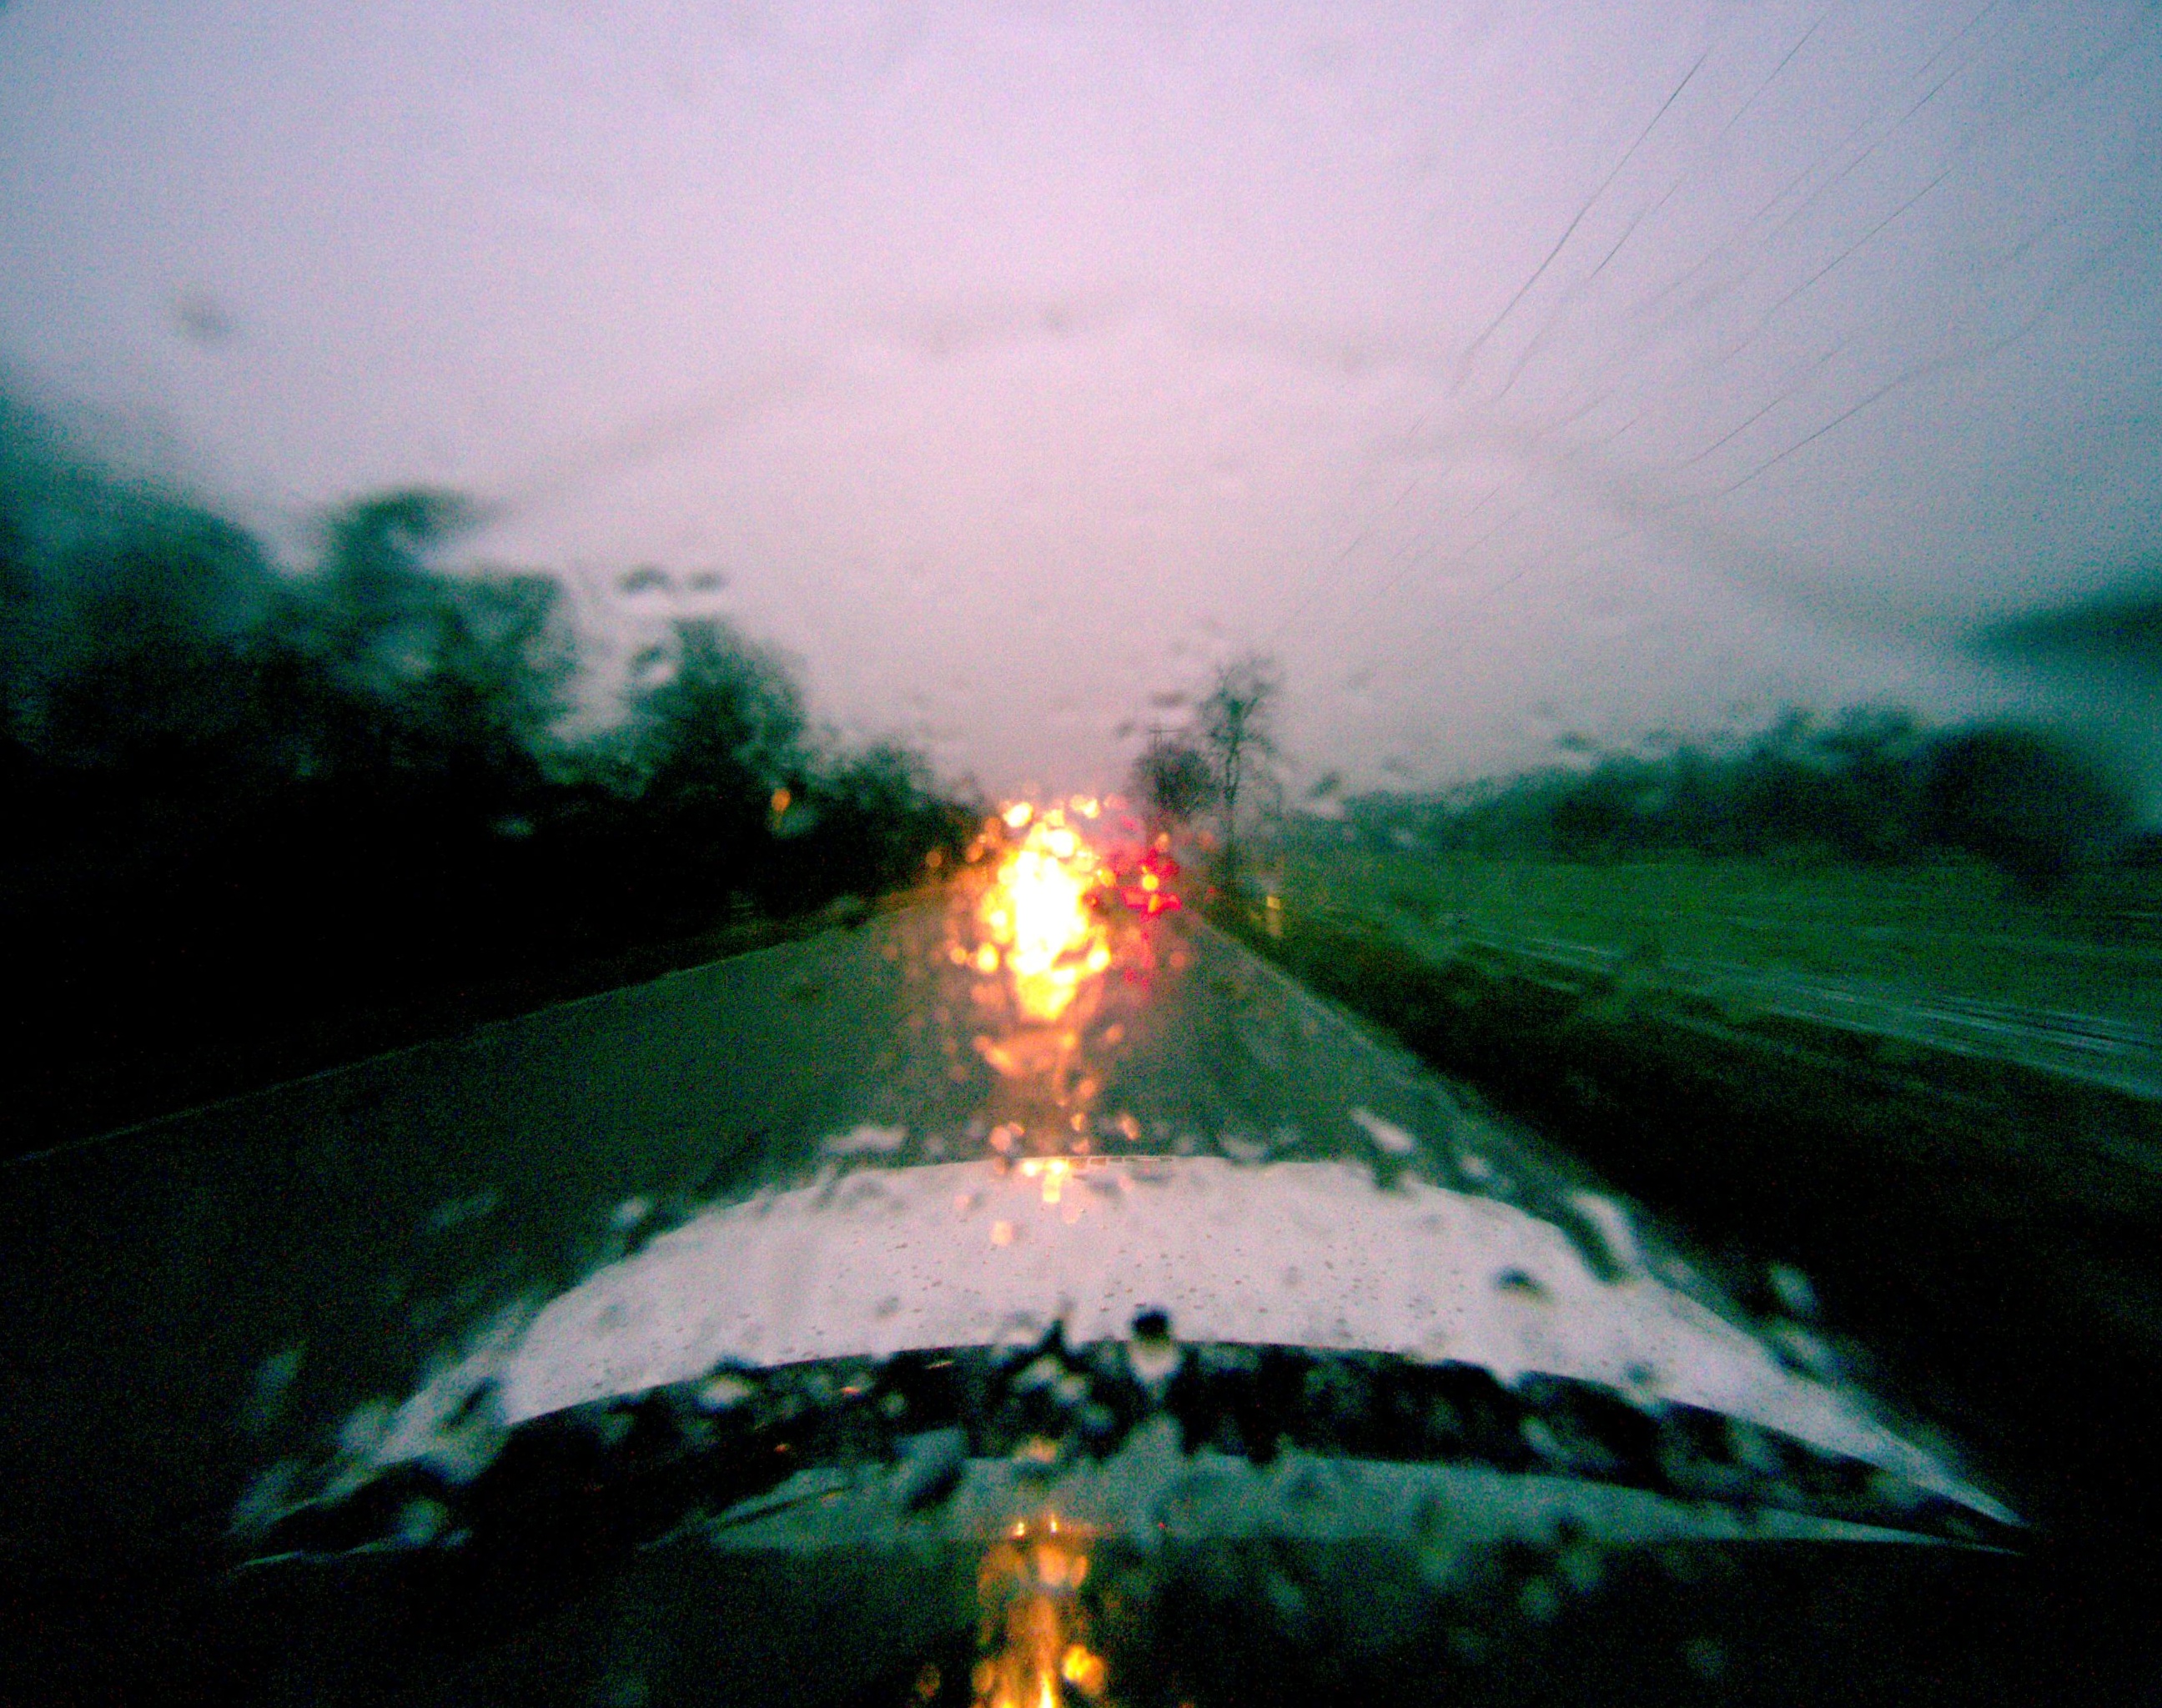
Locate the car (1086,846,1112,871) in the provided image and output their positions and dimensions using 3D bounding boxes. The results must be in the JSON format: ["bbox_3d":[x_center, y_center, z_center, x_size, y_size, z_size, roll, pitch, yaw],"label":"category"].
[{"bbox_3d":[1.513,0.371,67.263,1.985,2.013,4.004,-2,0,3],"label":"car"}]

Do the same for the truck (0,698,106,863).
[{"bbox_3d":[-25.473,-1.614,16.942,2.981,3.632,6.068,-1,0,1],"label":"truck"}]

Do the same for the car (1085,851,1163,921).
[{"bbox_3d":[1.165,0.833,23.073,1.986,1.752,4.001,-1,0,1],"label":"car"}]

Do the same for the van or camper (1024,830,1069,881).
[{"bbox_3d":[-1.936,0.086,47.866,2.013,2.776,6.746,-2,0,2],"label":"van or camper"}]
